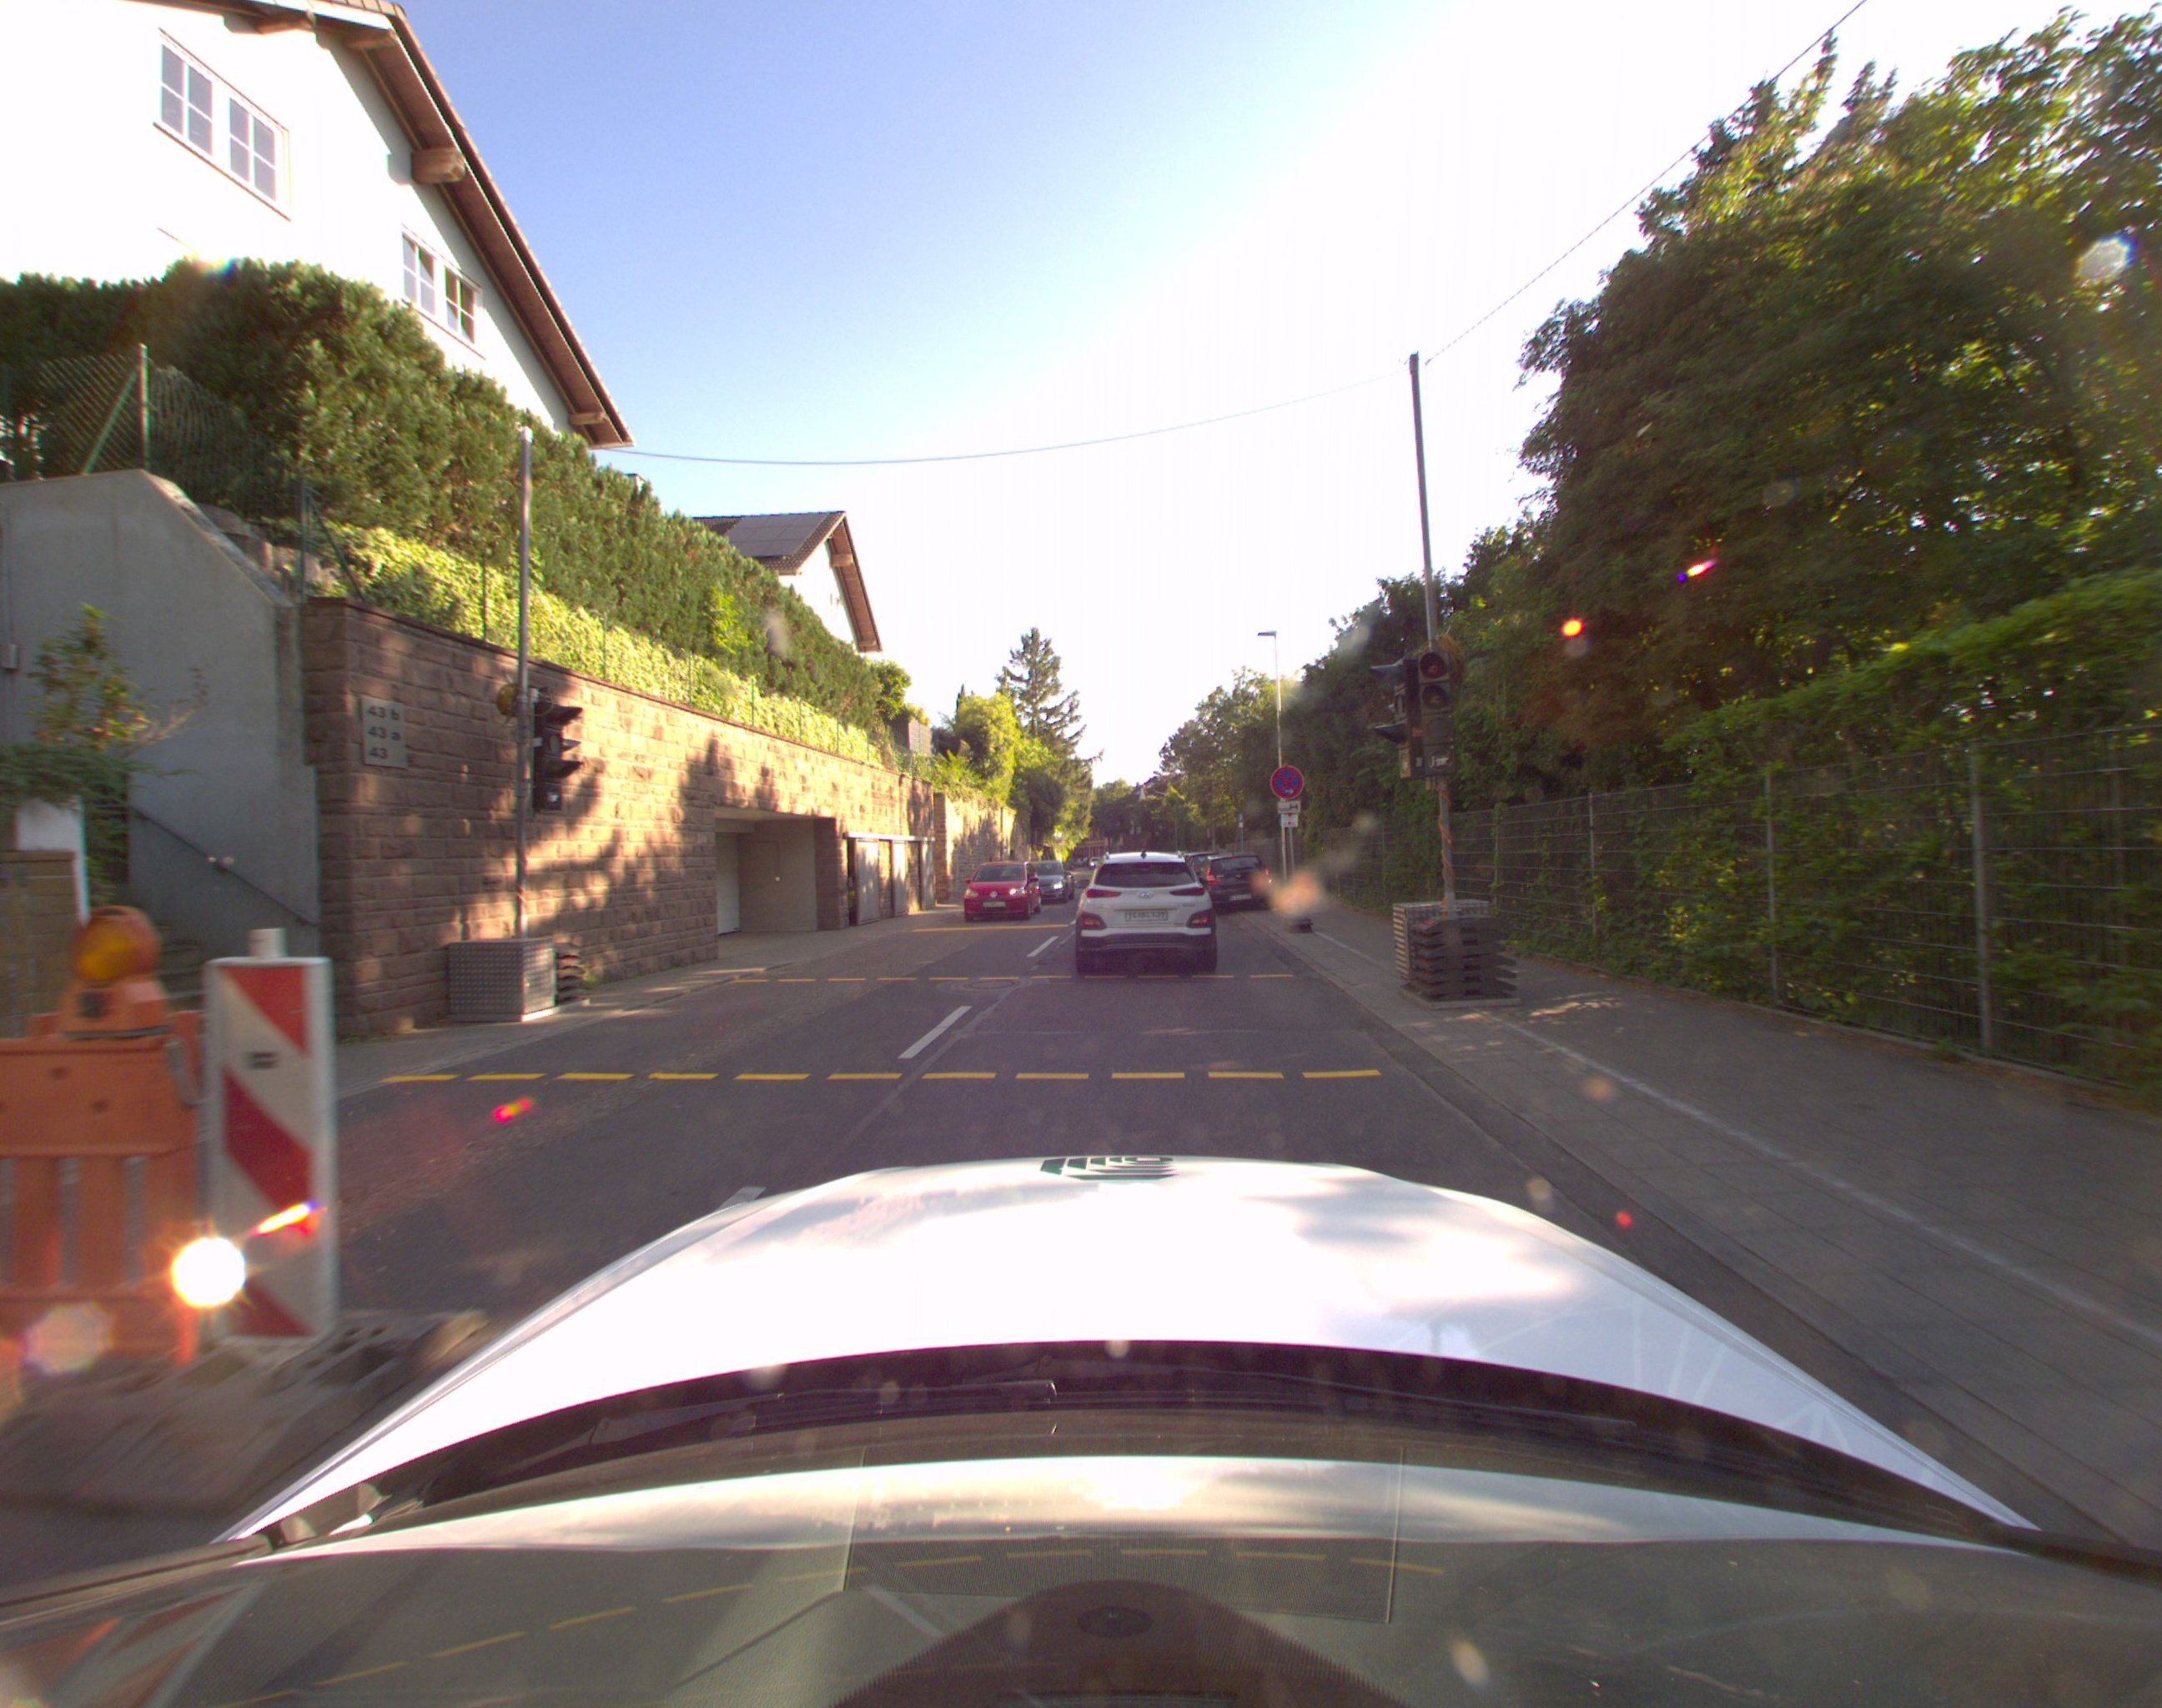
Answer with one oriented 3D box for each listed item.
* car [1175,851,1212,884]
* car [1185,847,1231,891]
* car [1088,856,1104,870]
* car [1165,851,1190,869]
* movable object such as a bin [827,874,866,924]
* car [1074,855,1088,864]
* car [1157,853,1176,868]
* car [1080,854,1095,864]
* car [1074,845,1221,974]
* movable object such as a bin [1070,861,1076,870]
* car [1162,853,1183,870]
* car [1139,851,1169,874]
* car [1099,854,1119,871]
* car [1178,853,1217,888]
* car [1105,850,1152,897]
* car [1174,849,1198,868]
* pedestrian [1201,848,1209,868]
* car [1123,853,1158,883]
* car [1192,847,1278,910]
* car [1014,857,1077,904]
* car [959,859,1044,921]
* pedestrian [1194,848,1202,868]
[{"bbox_3d":[5.767,0.682,42.073,1.617,1.509,2.907,-4,0,4],"label":"car"},{"bbox_3d":[4.895,0.567,31.685,1.644,1.564,2.878,-2,-1,7],"label":"car"},{"bbox_3d":[1.873,1.099,100.181,1.736,1.474,3.999,-5,-1,0],"label":"car"},{"bbox_3d":[8.961,0.567,75.727,1.590,1.565,3.995,-4,-1,-3],"label":"car"},{"bbox_3d":[-5.713,1.084,19.865,0.655,1.176,0.666,-2,0,5],"label":"movable object such as a bin"},{"bbox_3d":[-0.046,0.916,142.088,1.757,1.616,3.984,0,0,-12],"label":"car"},{"bbox_3d":[9.078,0.653,86.378,1.588,1.489,3.602,-4,0,1],"label":"car"},{"bbox_3d":[1.049,0.849,137.164,1.757,1.616,3.984,0,0,-12],"label":"car"},{"bbox_3d":[0.887,0.682,11.901,1.765,1.542,4.002,-1,0,2],"label":"car"},{"bbox_3d":[-0.878,1.289,88.878,0.493,1.011,1.114,0,-1,5],"label":"movable object such as a bin"},{"bbox_3d":[9.079,0.737,80.759,1.588,1.519,3.933,-4,-1,1],"label":"car"},{"bbox_3d":[5.188,0.598,57.730,1.683,1.533,3.893,-2,0,11],"label":"car"},{"bbox_3d":[2.641,0.772,75.233,1.543,1.466,3.574,-3,0,5],"label":"car"},{"bbox_3d":[5.402,0.720,37.980,1.701,1.498,4.824,0,0,7],"label":"car"},{"bbox_3d":[1.766,0.646,29.416,1.504,1.533,3.553,-2,0,6],"label":"car"},{"bbox_3d":[9.110,0.394,70.649,1.679,1.431,4.003,-4,0,3],"label":"car"},{"bbox_3d":[9.893,0.294,64.961,0.500,1.569,0.504,-4,-1,5],"label":"pedestrian"},{"bbox_3d":[3.124,0.691,42.439,1.562,1.477,3.555,-1,0,8],"label":"car"},{"bbox_3d":[3.983,0.594,21.631,1.786,1.441,4.005,-2,0,5],"label":"car"},{"bbox_3d":[-1.145,0.860,28.011,1.641,1.411,3.935,-2,0,4],"label":"car"},{"bbox_3d":[-1.982,0.866,21.301,1.620,1.422,3.566,-2,0,3],"label":"car"},{"bbox_3d":[9.328,0.324,65.050,0.500,1.606,0.492,-4,-1,5],"label":"pedestrian"}]
